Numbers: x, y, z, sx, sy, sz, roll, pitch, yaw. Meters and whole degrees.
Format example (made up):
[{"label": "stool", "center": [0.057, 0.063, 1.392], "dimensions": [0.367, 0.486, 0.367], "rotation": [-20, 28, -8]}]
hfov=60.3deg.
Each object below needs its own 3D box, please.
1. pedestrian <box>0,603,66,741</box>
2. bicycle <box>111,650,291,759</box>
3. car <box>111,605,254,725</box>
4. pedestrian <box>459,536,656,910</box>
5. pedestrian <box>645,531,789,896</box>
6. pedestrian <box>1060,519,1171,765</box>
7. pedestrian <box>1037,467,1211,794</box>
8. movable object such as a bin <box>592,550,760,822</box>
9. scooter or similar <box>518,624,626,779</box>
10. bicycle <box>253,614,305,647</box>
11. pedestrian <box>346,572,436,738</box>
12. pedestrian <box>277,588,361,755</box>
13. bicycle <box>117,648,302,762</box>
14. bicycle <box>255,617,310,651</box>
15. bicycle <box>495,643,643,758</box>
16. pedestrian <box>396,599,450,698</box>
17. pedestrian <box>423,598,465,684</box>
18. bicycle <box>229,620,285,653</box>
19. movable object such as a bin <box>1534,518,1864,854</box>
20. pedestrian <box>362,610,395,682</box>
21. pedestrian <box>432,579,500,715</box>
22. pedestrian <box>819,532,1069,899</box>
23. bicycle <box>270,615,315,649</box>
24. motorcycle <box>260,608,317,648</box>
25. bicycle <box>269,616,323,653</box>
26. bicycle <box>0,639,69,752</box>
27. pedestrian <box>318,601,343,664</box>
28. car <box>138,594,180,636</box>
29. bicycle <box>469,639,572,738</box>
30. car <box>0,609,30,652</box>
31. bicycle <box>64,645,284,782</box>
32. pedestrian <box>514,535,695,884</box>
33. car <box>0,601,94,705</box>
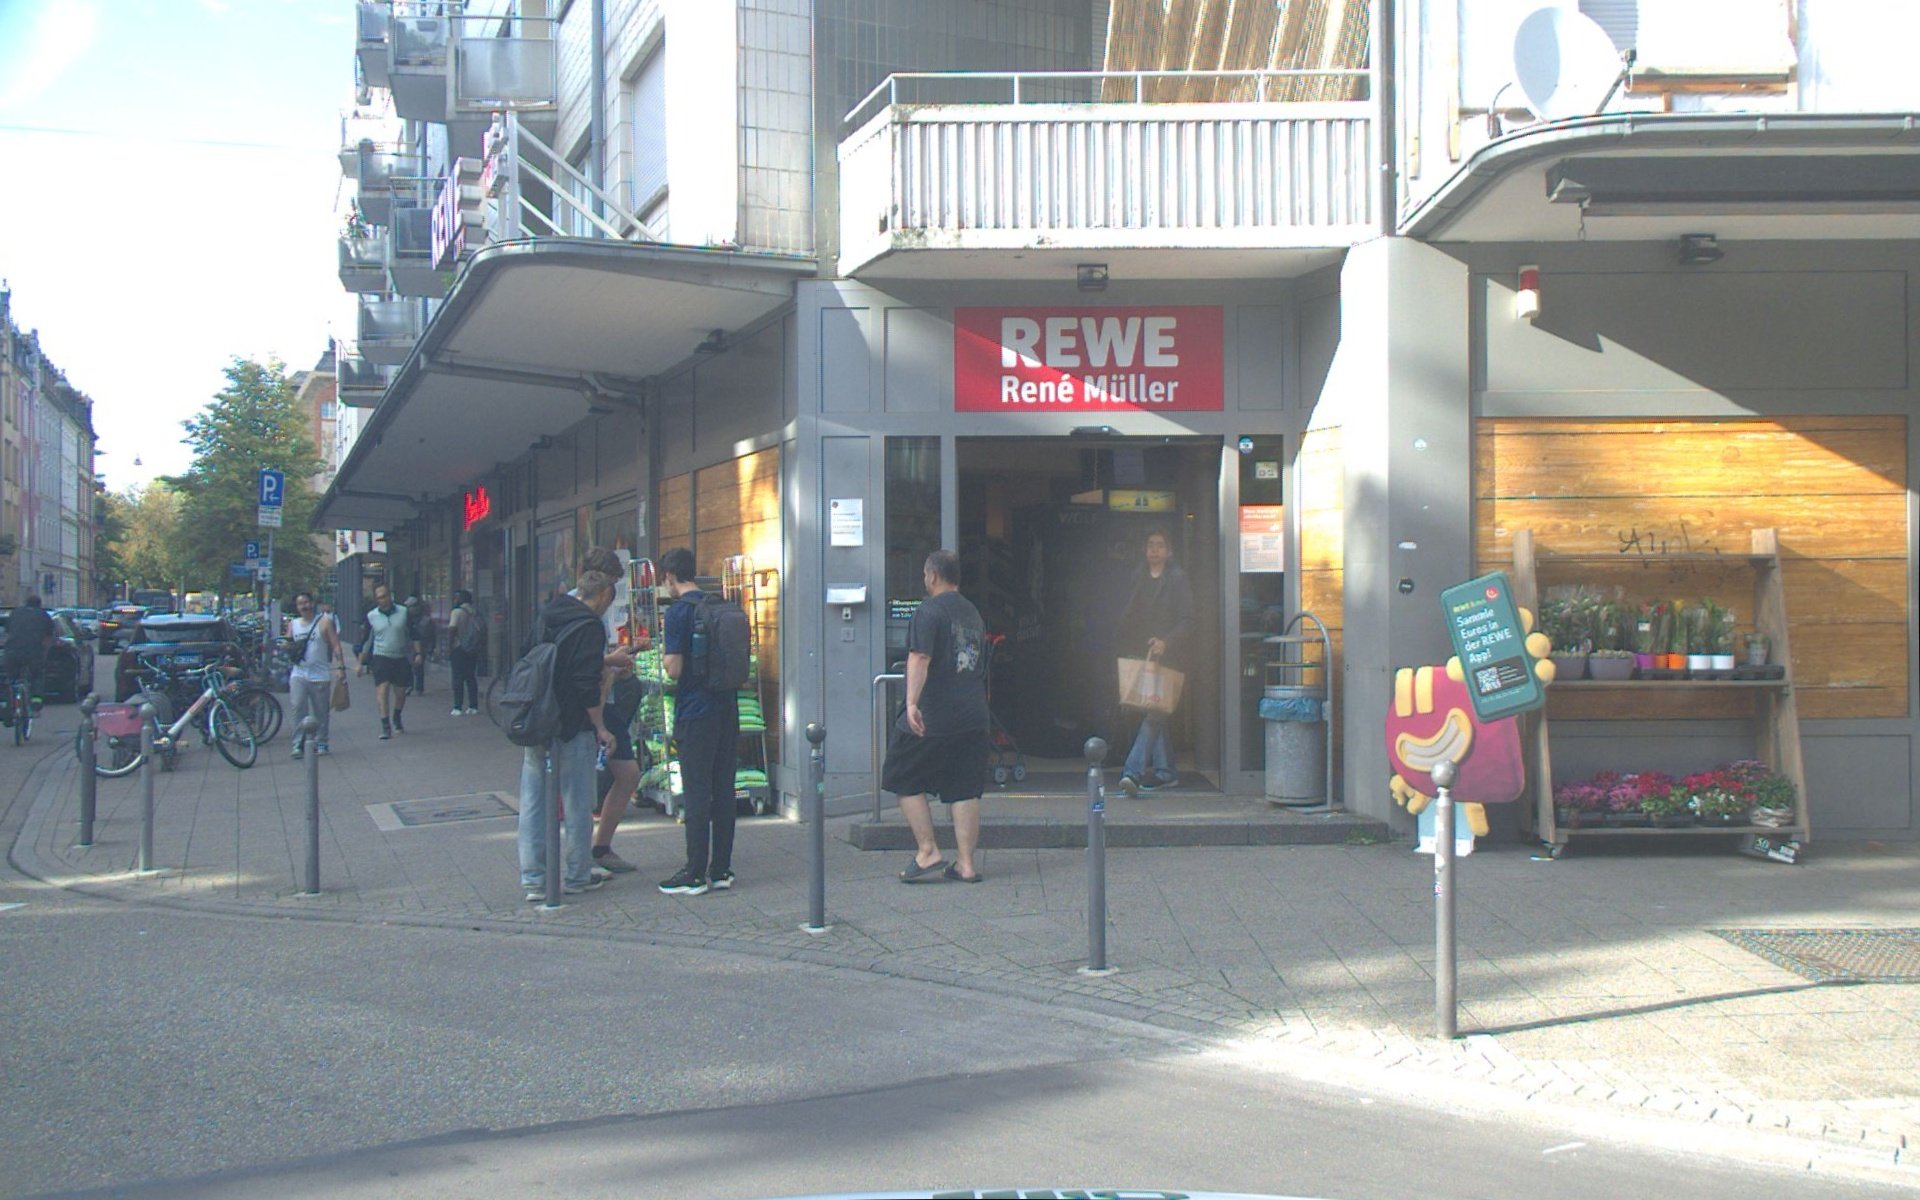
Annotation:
[{"label": "pedestrian", "center": [-11.622, 0.879, 20.609], "dimensions": [0.708, 1.679, 0.924], "rotation": [1, -1, -23]}, {"label": "bicycle", "center": [-8.646, 1.168, 18.867], "dimensions": [1.772, 1.089, 0.580], "rotation": [-3, 1, -34]}, {"label": "car", "center": [-12.105, 0.938, 25.940], "dimensions": [1.768, 1.633, 3.897], "rotation": [-3, 1, -23]}, {"label": "pedestrian", "center": [-2.059, 0.602, 8.521], "dimensions": [0.617, 1.828, 0.715], "rotation": [-2, 2, 18]}, {"label": "pedestrian", "center": [-1.293, 0.566, 8.756], "dimensions": [0.641, 1.828, 0.657], "rotation": [-3, 2, -11]}, {"label": "pedestrian", "center": [1.158, 0.301, 12.488], "dimensions": [0.747, 1.784, 0.930], "rotation": [0, 0, 0]}, {"label": "pedestrian", "center": [1.096, 0.184, 10.875], "dimensions": [1.009, 2.048, 0.864], "rotation": [-1, 1, 13]}, {"label": "movable object such as a bin", "center": [-2.121, 0.564, 12.059], "dimensions": [0.768, 1.775, 2.408], "rotation": [0, 0, -21]}, {"label": "scooter or similar", "center": [-3.395, 0.853, 14.400], "dimensions": [0.624, 1.234, 1.245], "rotation": [-2, 1, -26]}, {"label": "bicycle", "center": [-26.360, 1.176, 64.028], "dimensions": [1.757, 1.179, 0.500], "rotation": [-2, 1, 2]}, {"label": "pedestrian", "center": [-6.703, 0.633, 19.541], "dimensions": [0.870, 1.866, 1.042], "rotation": [-2, 0, -16]}, {"label": "pedestrian", "center": [-6.786, 0.738, 17.490], "dimensions": [0.791, 1.700, 1.015], "rotation": [0, -1, -23]}, {"label": "bicycle", "center": [-8.298, 1.138, 18.324], "dimensions": [1.772, 1.089, 0.562], "rotation": [-3, 1, -34]}, {"label": "bicycle", "center": [-24.231, 1.206, 59.173], "dimensions": [1.741, 1.106, 0.646], "rotation": [-3, 1, -22]}, {"label": "bicycle", "center": [-3.892, 0.970, 16.383], "dimensions": [0.673, 1.061, 1.706], "rotation": [0, -1, -43]}, {"label": "pedestrian", "center": [-9.034, 0.803, 27.809], "dimensions": [0.812, 1.616, 0.775], "rotation": [-1, 0, -22]}, {"label": "pedestrian", "center": [-11.481, 0.904, 36.835], "dimensions": [0.692, 1.893, 0.645], "rotation": [0, -1, 5]}, {"label": "bicycle", "center": [-24.742, 1.271, 58.247], "dimensions": [1.746, 1.075, 0.407], "rotation": [-3, 1, -29]}, {"label": "movable object such as a bin", "center": [4.065, 0.449, 9.176], "dimensions": [1.513, 1.785, 0.691], "rotation": [0, 2, -1]}, {"label": "pedestrian", "center": [-13.454, 1.053, 38.257], "dimensions": [0.635, 1.616, 0.775], "rotation": [-2, 0, -22]}, {"label": "pedestrian", "center": [-6.753, 0.626, 22.606], "dimensions": [0.705, 1.777, 0.810], "rotation": [-3, 1, -26]}, {"label": "pedestrian", "center": [-0.100, 0.557, 8.757], "dimensions": [0.842, 1.777, 1.037], "rotation": [-3, 1, -34]}, {"label": "bicycle", "center": [-24.228, 1.150, 60.026], "dimensions": [1.475, 1.166, 0.408], "rotation": [-3, 1, -24]}, {"label": "motorcycle", "center": [-28.261, 1.160, 69.612], "dimensions": [2.118, 1.557, 0.682], "rotation": [-3, 1, -20]}, {"label": "bicycle", "center": [-23.431, 1.214, 58.393], "dimensions": [1.741, 1.182, 0.646], "rotation": [-3, 1, -22]}, {"label": "bicycle", "center": [-11.601, 1.157, 20.548], "dimensions": [0.708, 1.296, 1.871], "rotation": [1, -1, -22]}, {"label": "pedestrian", "center": [-17.834, 0.913, 46.860], "dimensions": [0.603, 1.756, 1.119], "rotation": [-1, 1, -22]}, {"label": "car", "center": [-40.833, 0.753, 84.389], "dimensions": [1.759, 2.055, 3.858], "rotation": [1, -1, -24]}, {"label": "bicycle", "center": [-5.132, 1.003, 19.251], "dimensions": [0.733, 1.032, 1.766], "rotation": [-3, 1, -29]}, {"label": "car", "center": [-34.230, 1.047, 58.683], "dimensions": [1.667, 1.411, 3.841], "rotation": [1, 0, -22]}, {"label": "bicycle", "center": [-7.692, 1.084, 16.250], "dimensions": [1.859, 1.145, 0.900], "rotation": [-3, 1, -26]}, {"label": "pedestrian", "center": [-1.932, 0.576, 9.072], "dimensions": [0.697, 1.828, 0.633], "rotation": [-2, 2, 9]}, {"label": "car", "center": [-16.970, 0.935, 29.914], "dimensions": [1.938, 1.771, 4.012], "rotation": [0, -1, -23]}]
